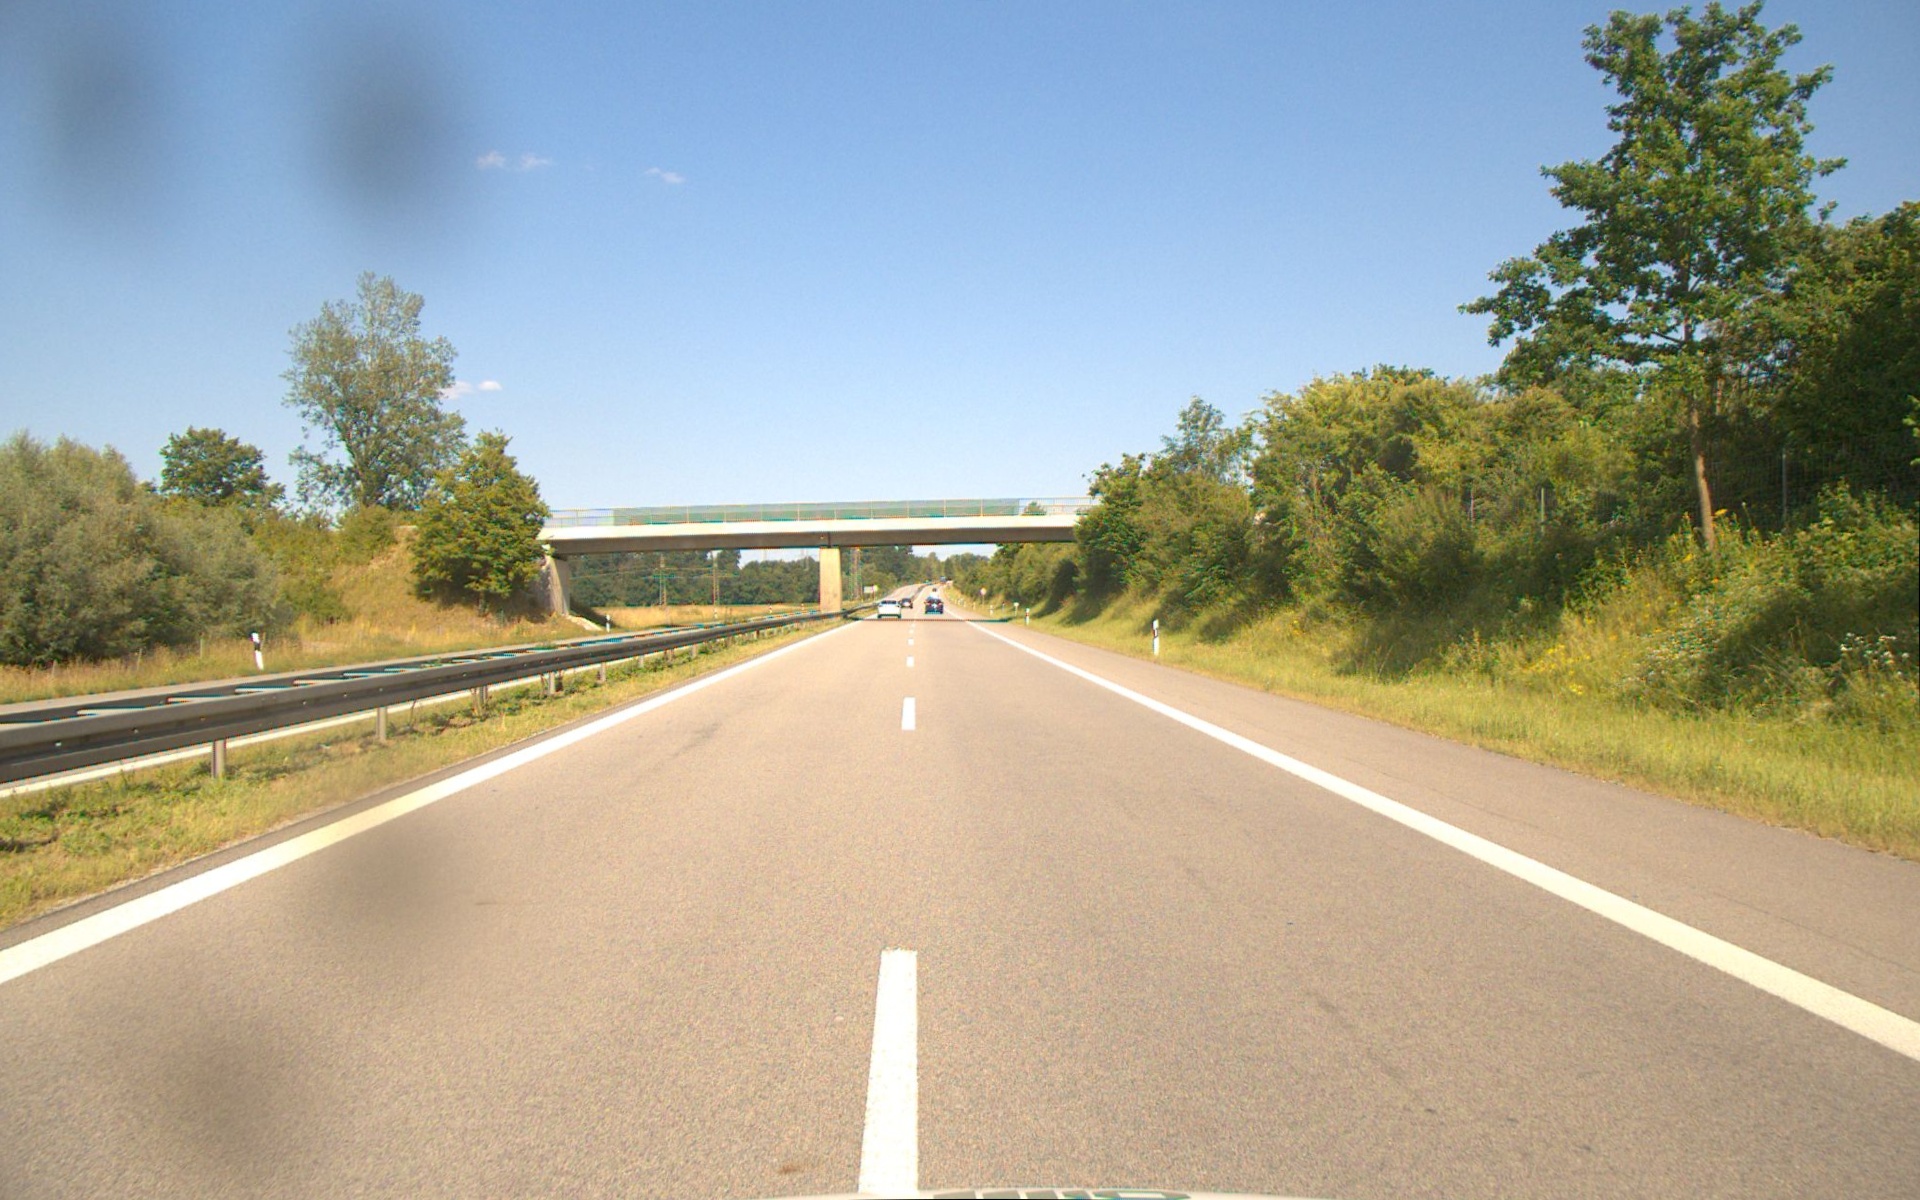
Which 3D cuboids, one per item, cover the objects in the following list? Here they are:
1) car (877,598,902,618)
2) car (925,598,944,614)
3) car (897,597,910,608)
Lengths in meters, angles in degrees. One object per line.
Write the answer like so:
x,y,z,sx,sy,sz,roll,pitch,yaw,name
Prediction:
-5.296,0.606,124.361,1.806,1.440,3.998,1,0,-2,car
-2.575,0.590,164.582,1.806,1.546,3.998,1,0,-2,car
-7.926,0.351,231.250,1.806,1.461,3.998,1,0,-2,car
